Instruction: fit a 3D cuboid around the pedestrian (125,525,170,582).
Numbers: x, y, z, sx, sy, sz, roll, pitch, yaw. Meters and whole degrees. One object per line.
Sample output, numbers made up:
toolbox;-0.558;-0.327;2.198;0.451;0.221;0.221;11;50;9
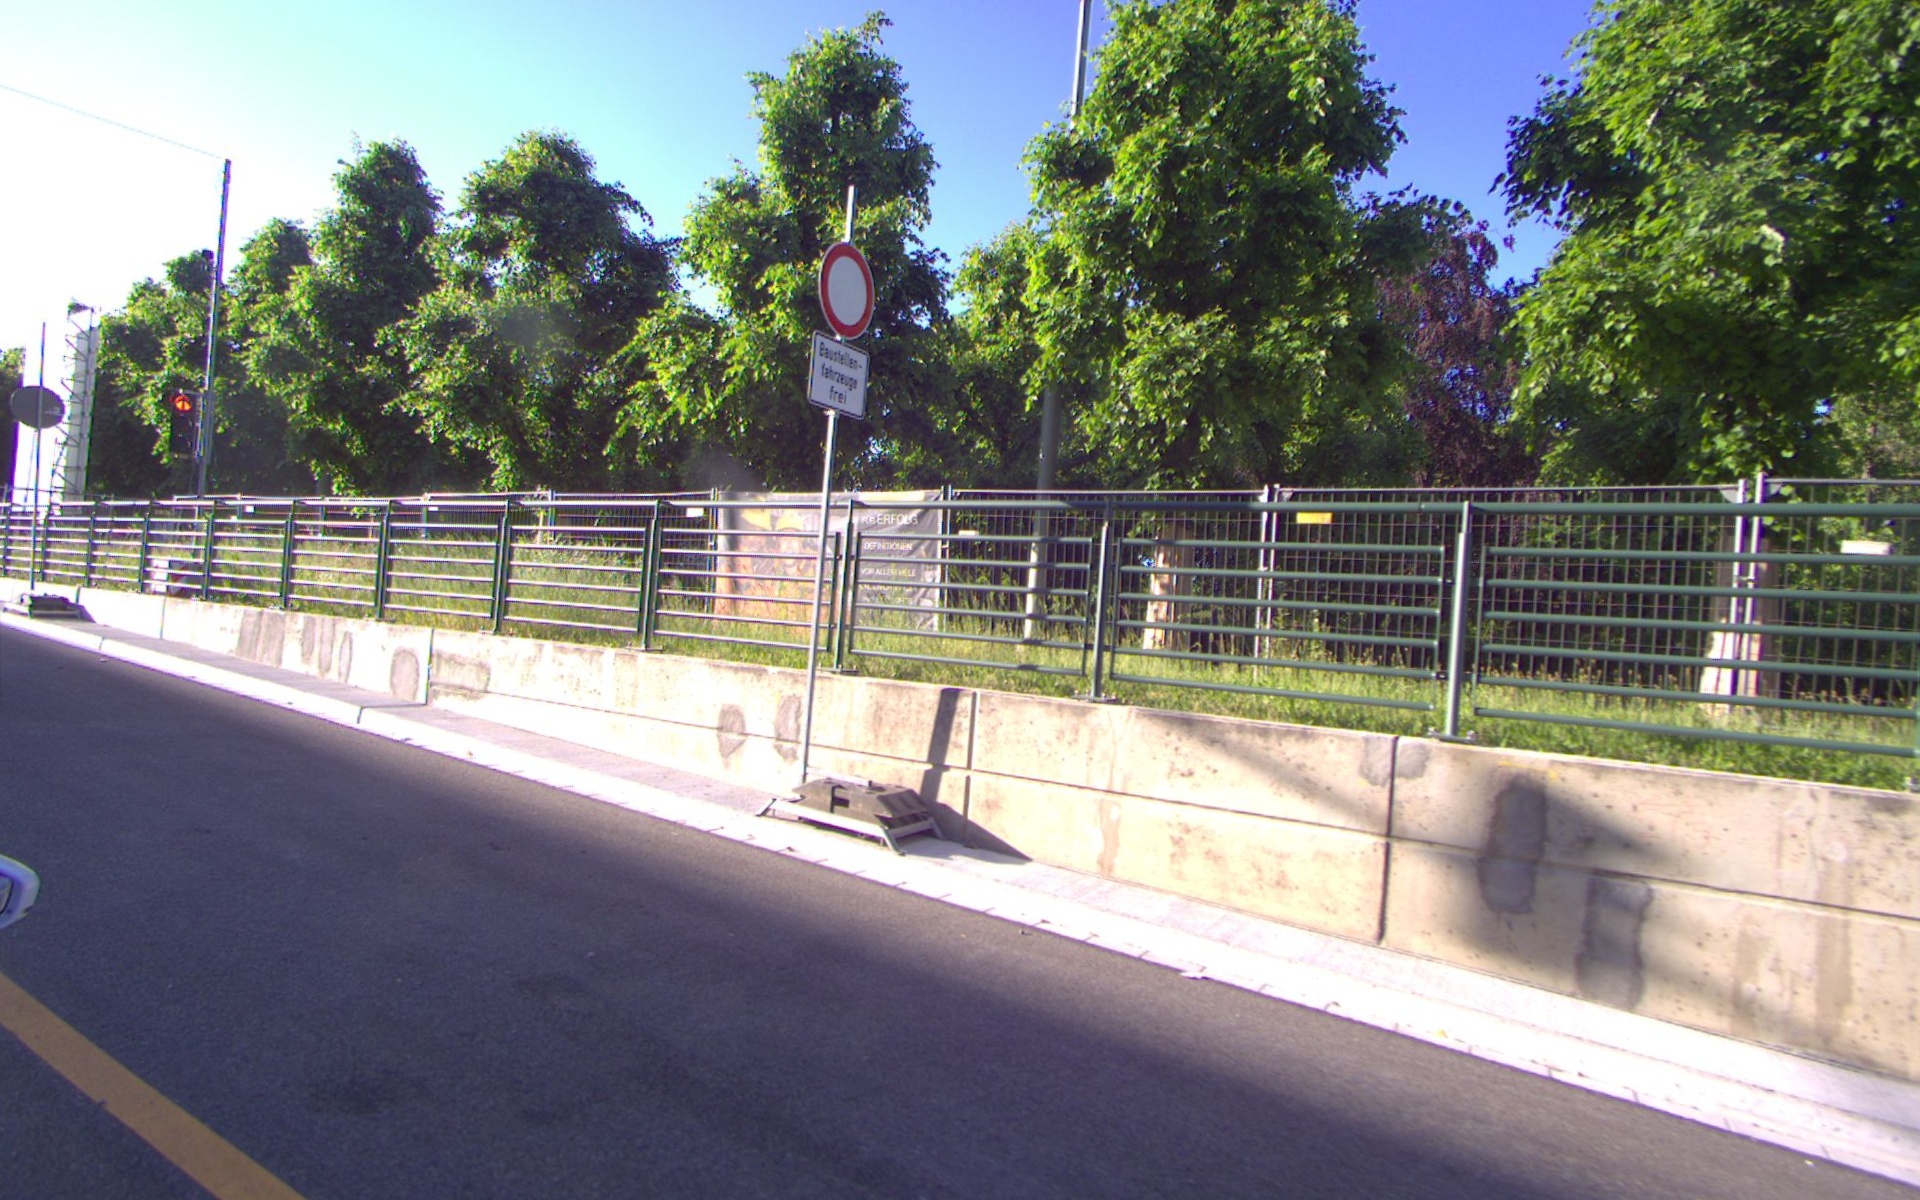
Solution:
pedestrian;-23.901;-1.351;29.604;0.654;1.586;0.744;5;0;-7

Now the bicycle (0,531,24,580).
bicycle;-25.276;-1.240;25.616;0.470;1.215;1.992;4;-2;37

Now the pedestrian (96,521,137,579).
pedestrian;-25.072;-1.489;29.898;0.634;1.624;0.736;5;1;38
